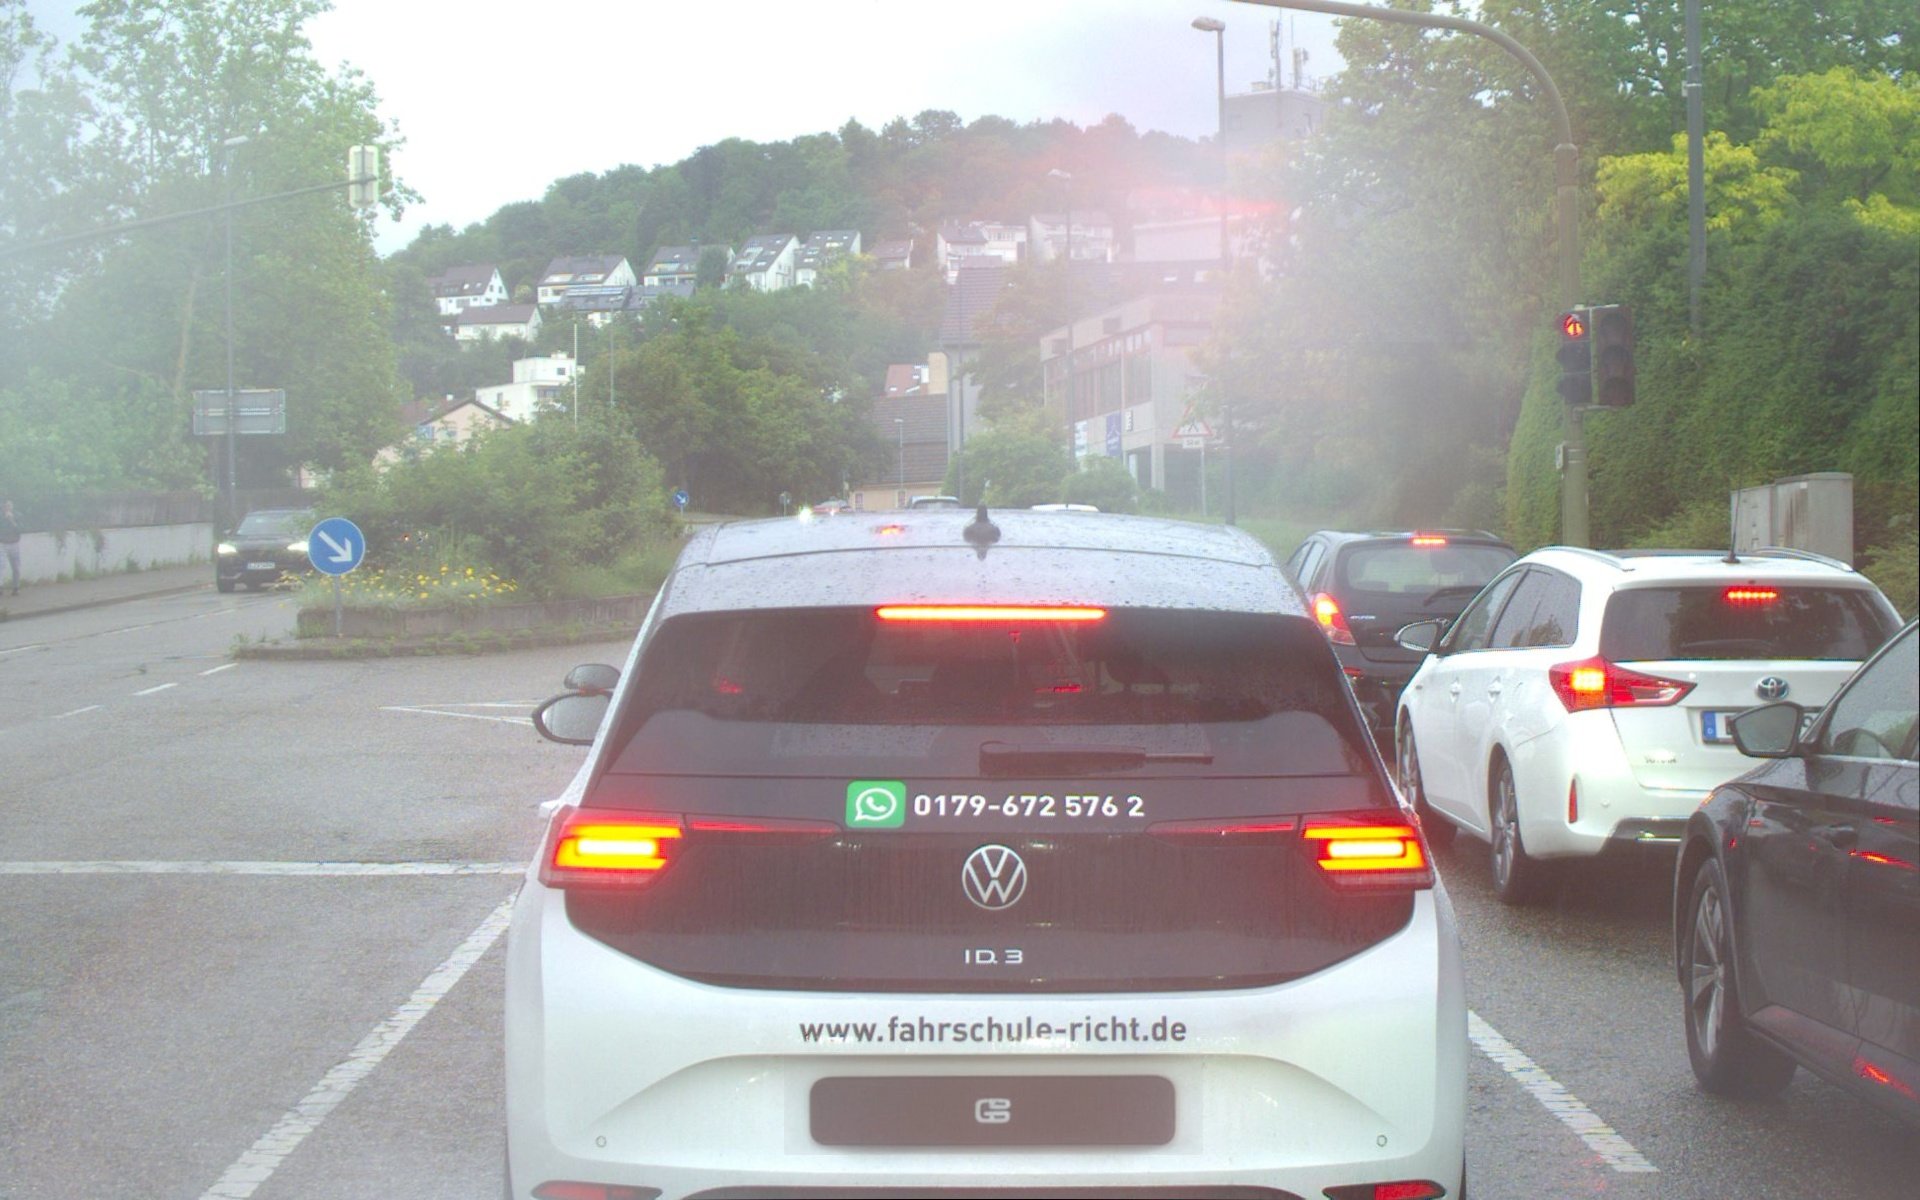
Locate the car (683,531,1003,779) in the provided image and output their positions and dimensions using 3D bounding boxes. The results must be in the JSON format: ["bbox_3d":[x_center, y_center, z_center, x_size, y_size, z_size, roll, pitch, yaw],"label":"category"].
[{"bbox_3d":[-0.725,0.284,21.994,1.837,1.395,3.831,1,1,-1],"label":"car"}]

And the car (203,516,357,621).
[{"bbox_3d":[-12.568,-0.596,63.730,1.993,1.798,4.000,-3,1,0],"label":"car"}]

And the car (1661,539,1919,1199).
[{"bbox_3d":[2.878,0.631,7.480,1.838,1.461,4.350,1,1,1],"label":"car"}]

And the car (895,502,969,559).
[{"bbox_3d":[-0.743,-1.813,89.126,1.761,1.413,3.749,-1,2,-3],"label":"car"}]

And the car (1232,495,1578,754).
[{"bbox_3d":[2.920,0.127,23.349,1.775,1.576,4.000,1,1,0],"label":"car"}]

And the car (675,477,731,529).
[{"bbox_3d":[-10.470,-3.935,140.422,1.993,2.007,4.000,1,0,0],"label":"car"}]

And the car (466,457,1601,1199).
[{"bbox_3d":[0.069,0.541,7.950,1.837,1.623,4.616,1,1,-1],"label":"car"}]

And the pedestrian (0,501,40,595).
[{"bbox_3d":[-16.116,-0.869,58.297,0.760,1.562,0.825,-2,1,-1],"label":"pedestrian"}]

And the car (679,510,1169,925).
[{"bbox_3d":[-0.180,0.400,15.220,1.837,1.549,4.175,1,1,-1],"label":"car"}]

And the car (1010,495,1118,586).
[{"bbox_3d":[1.747,-1.001,58.734,1.581,1.462,4.000,-1,1,-1],"label":"car"}]

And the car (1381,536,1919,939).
[{"bbox_3d":[3.064,0.484,14.996,1.837,1.461,4.117,1,1,-1],"label":"car"}]
